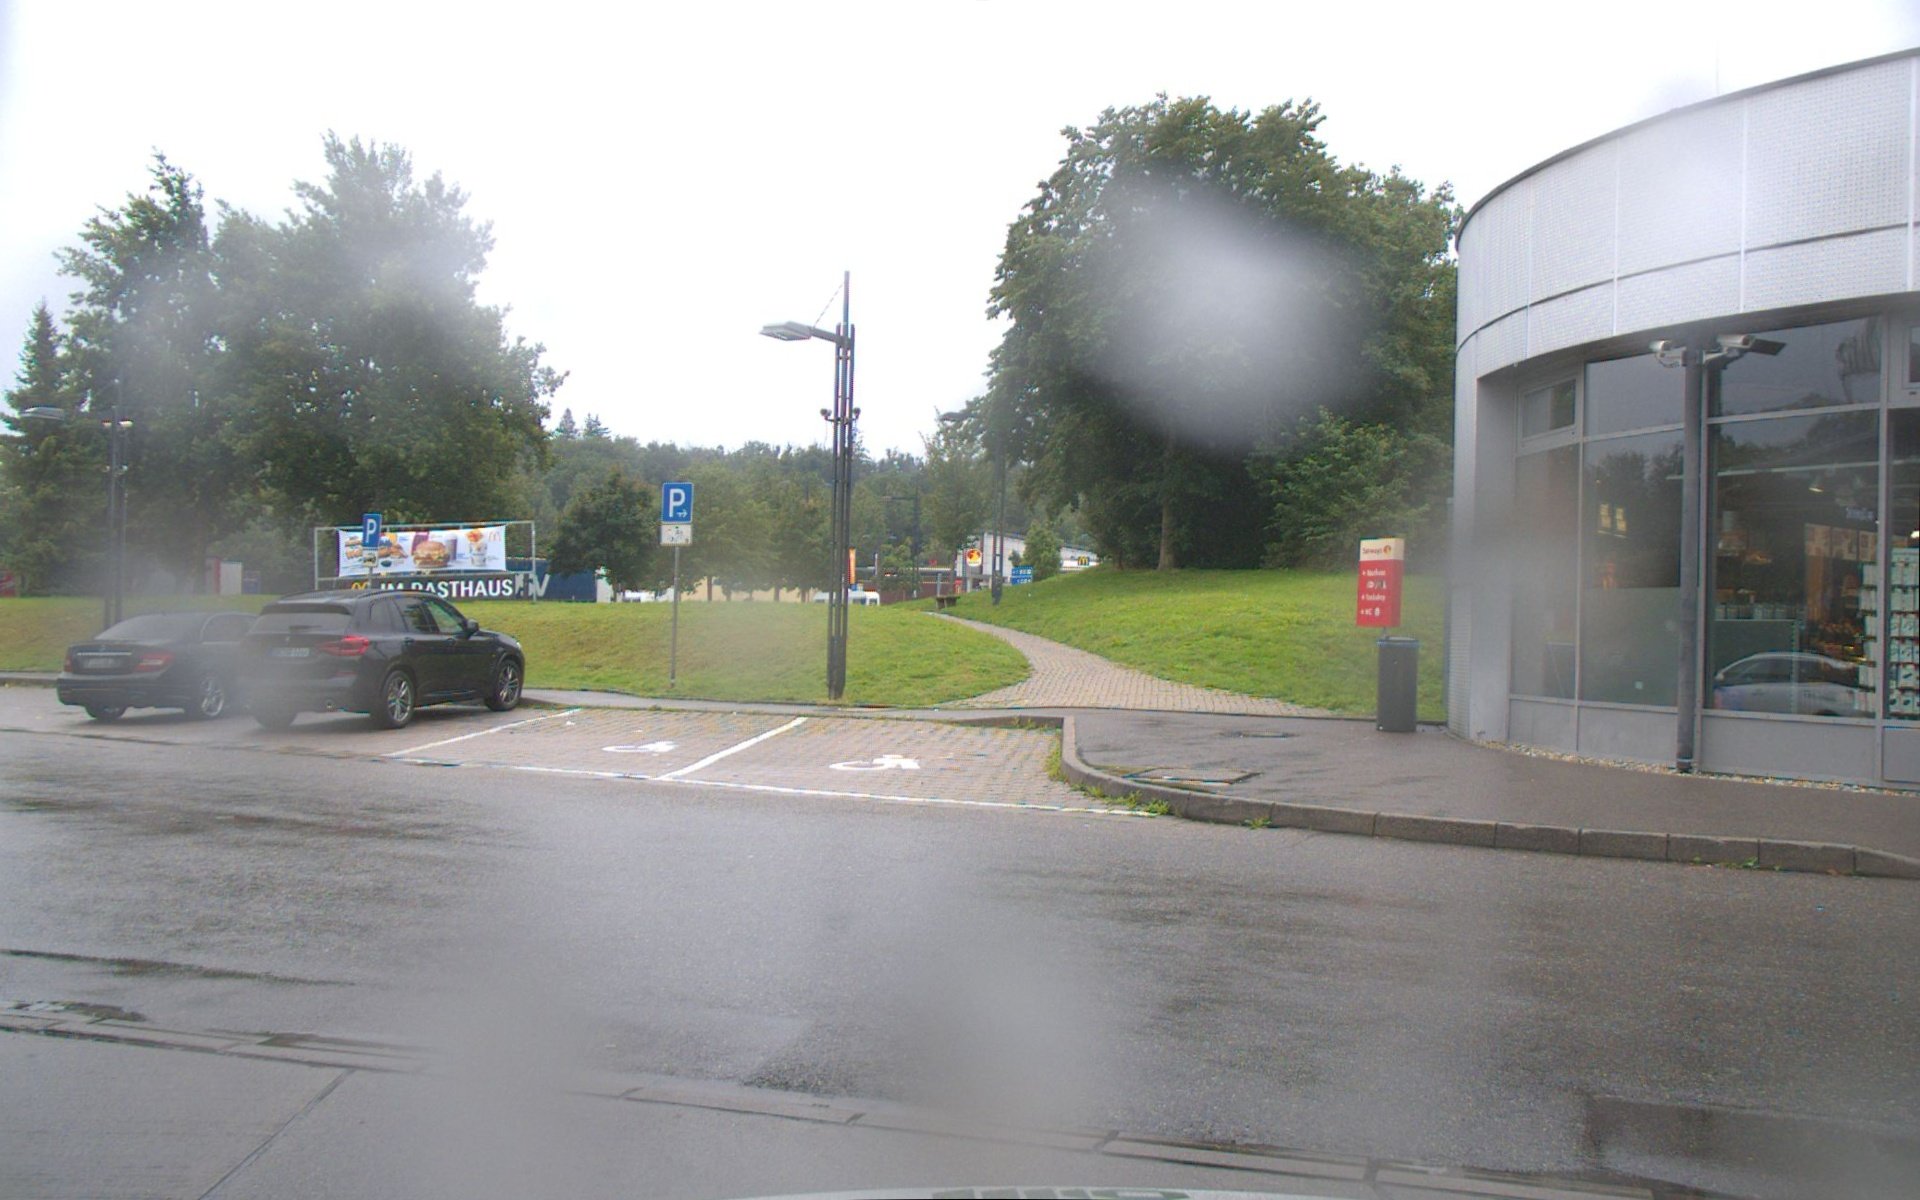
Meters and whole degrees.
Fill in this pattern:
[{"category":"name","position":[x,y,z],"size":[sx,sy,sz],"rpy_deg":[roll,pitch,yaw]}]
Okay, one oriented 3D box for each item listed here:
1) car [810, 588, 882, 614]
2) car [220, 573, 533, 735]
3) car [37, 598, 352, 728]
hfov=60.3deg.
[{"category":"car","position":[-9.188,0.056,133.546],"size":[5.310,2.049,2.456],"rpy_deg":[1,0,19]},{"category":"car","position":[-7.331,0.609,21.323],"size":[1.844,1.860,4.417],"rpy_deg":[0,0,11]},{"category":"car","position":[-10.356,0.781,22.763],"size":[1.844,1.592,4.189],"rpy_deg":[0,0,11]}]
